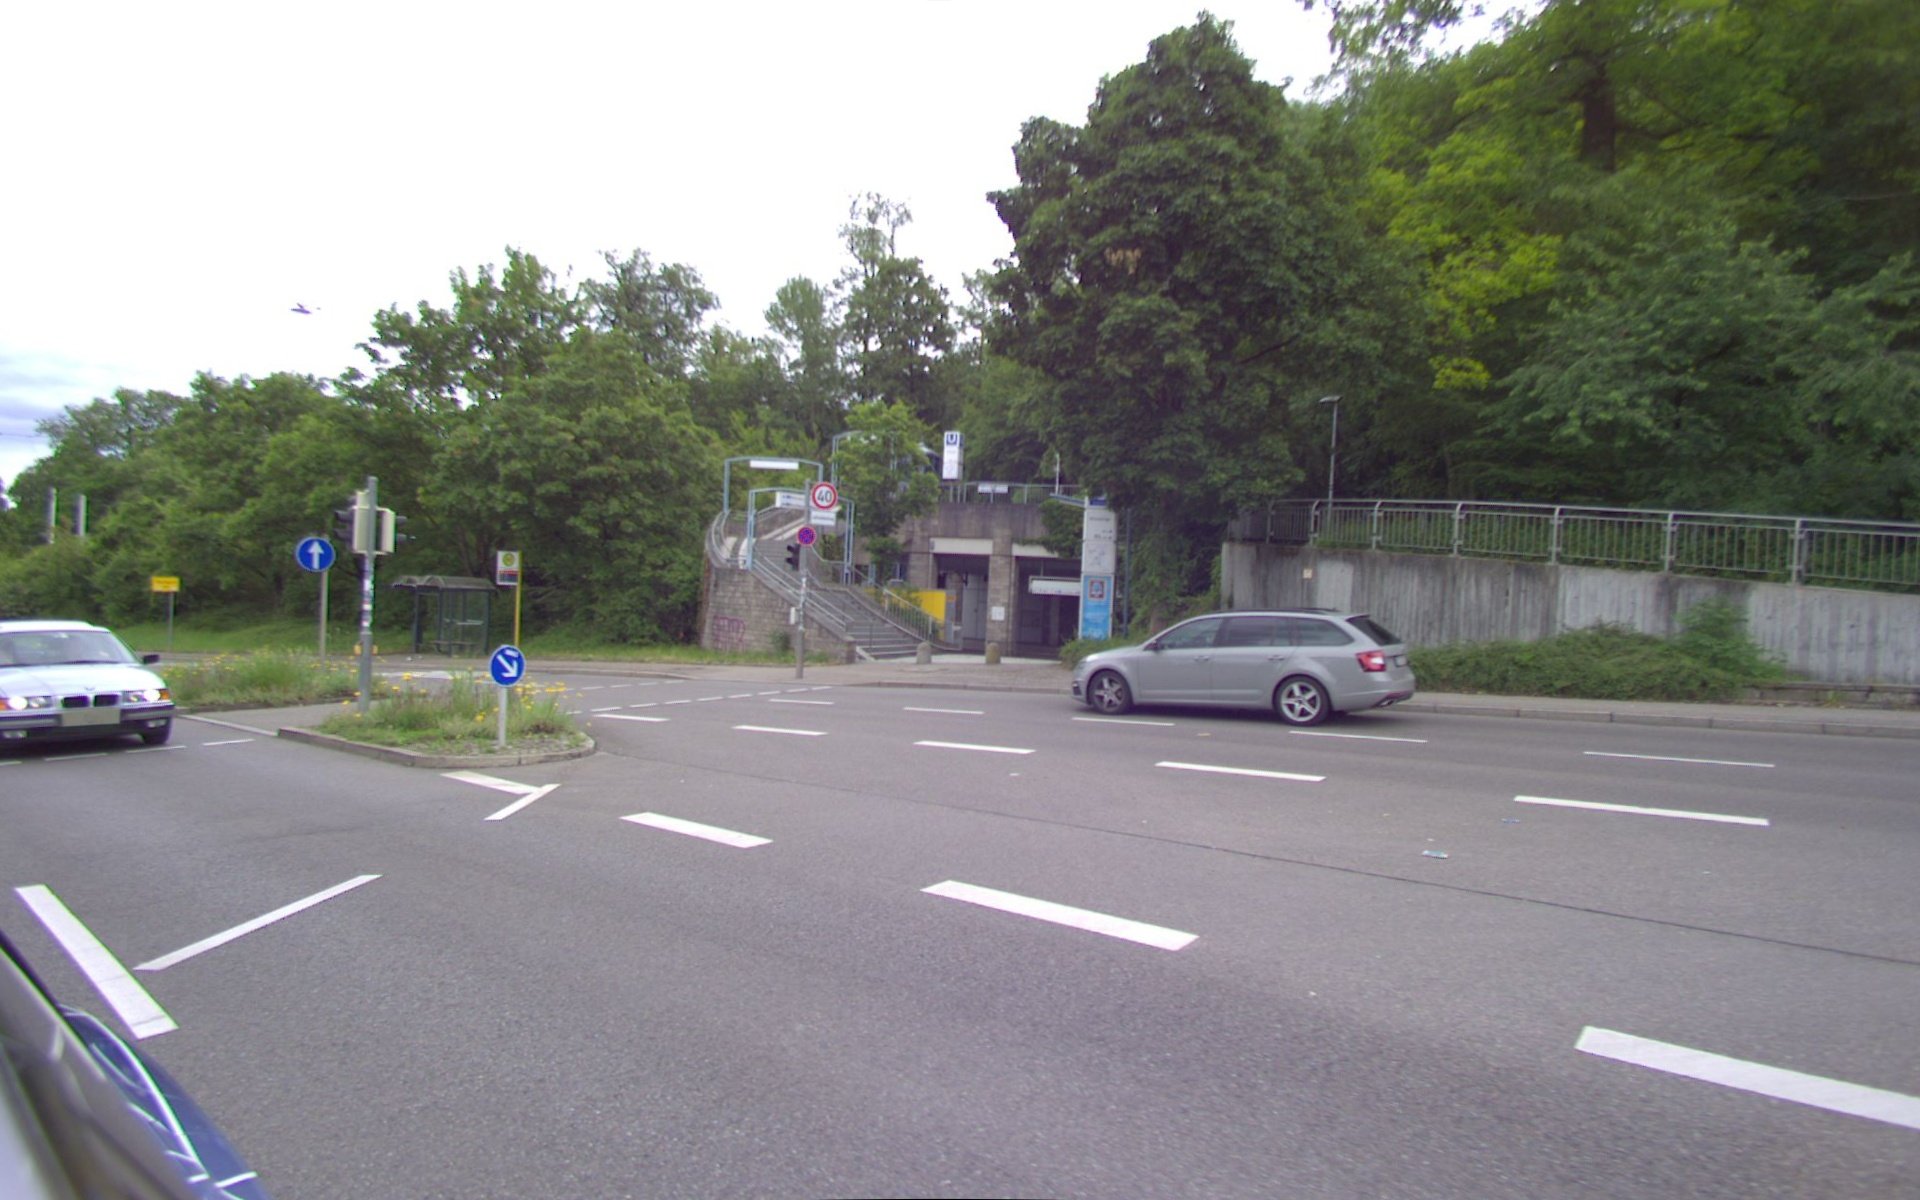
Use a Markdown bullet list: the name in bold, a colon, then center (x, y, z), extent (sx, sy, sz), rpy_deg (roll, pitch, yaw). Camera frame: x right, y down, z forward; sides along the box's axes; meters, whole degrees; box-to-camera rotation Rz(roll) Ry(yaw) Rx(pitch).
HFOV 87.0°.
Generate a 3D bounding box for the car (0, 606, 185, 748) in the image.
- **car**: center (-10.789, 0.786, 11.926), extent (4.612, 1.404, 1.735), rpy_deg (-1, -1, 41)

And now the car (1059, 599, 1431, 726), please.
- **car**: center (3.728, 0.755, 13.670), extent (4.557, 1.460, 1.637), rpy_deg (-1, -1, 35)
